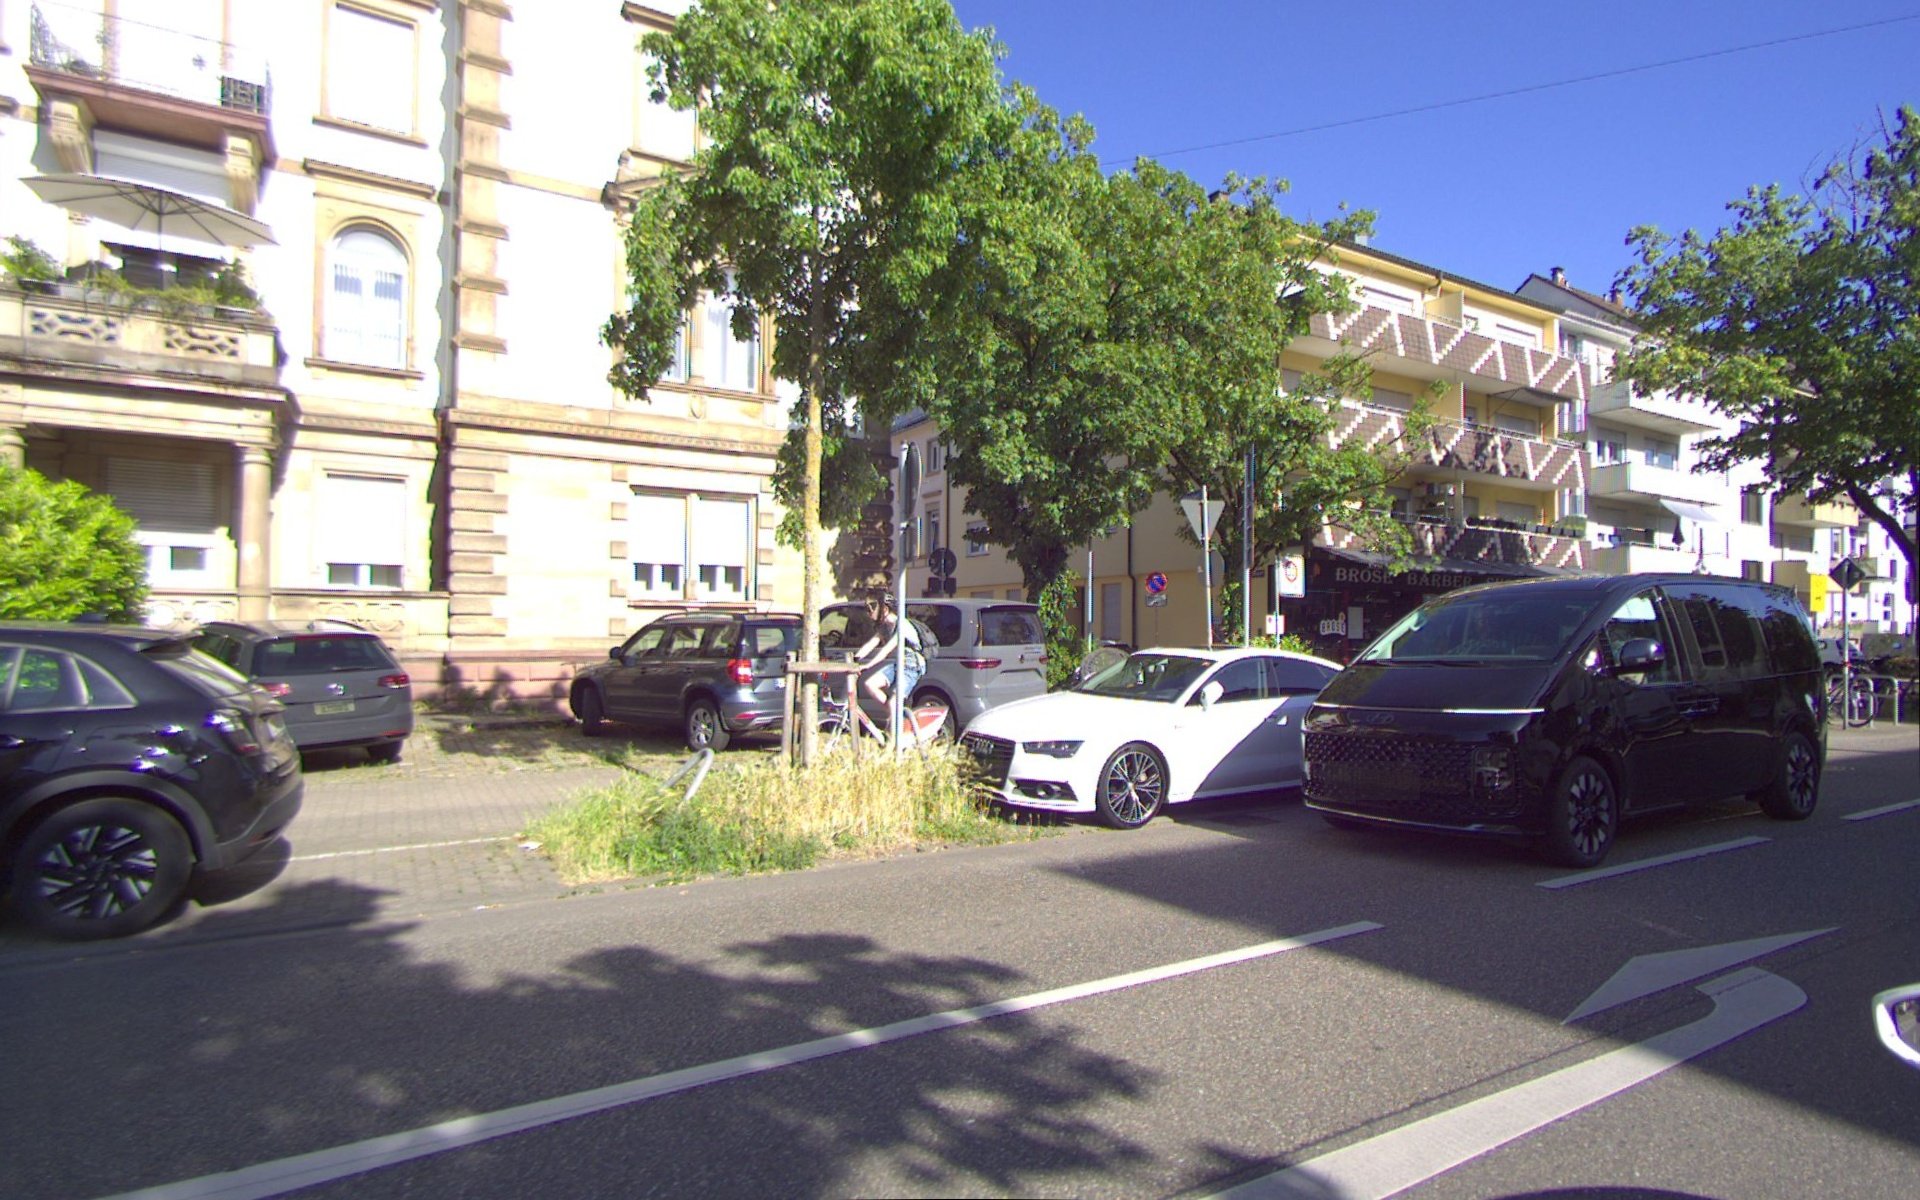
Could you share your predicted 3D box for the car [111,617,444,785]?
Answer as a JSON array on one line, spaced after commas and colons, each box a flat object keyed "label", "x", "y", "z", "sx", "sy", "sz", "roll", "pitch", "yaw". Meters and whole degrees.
[{"label": "car", "x": -7.534, "y": 0.963, "z": 11.002, "sx": 3.853, "sy": 1.508, "sz": 1.628, "roll": 0, "pitch": -1, "yaw": 33}]

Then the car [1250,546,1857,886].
[{"label": "car", "x": 4.908, "y": 0.777, "z": 8.084, "sx": 5.119, "sy": 1.977, "sz": 2.006, "roll": 1, "pitch": -4, "yaw": -31}]

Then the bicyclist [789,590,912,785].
[{"label": "bicyclist", "x": -1.099, "y": 0.846, "z": 10.055, "sx": 1.042, "sy": 1.848, "sz": 0.655, "roll": 1, "pitch": -2, "yaw": -30}]

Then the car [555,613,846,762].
[{"label": "car", "x": -3.485, "y": 1.023, "z": 13.242, "sx": 3.857, "sy": 1.666, "sz": 1.674, "roll": 0, "pitch": -1, "yaw": 37}]

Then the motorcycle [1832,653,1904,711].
[{"label": "motorcycle", "x": 19.163, "y": 1.715, "z": 21.188, "sx": 1.692, "sy": 1.140, "sz": 0.460, "roll": 1, "pitch": 0, "yaw": -23}]

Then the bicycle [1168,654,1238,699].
[{"label": "bicycle", "x": 5.842, "y": 1.823, "z": 24.107, "sx": 1.734, "sy": 0.993, "sz": 0.402, "roll": 0, "pitch": -1, "yaw": -24}]

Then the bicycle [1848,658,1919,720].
[{"label": "bicycle", "x": 18.226, "y": 1.706, "z": 19.256, "sx": 0.453, "sy": 1.106, "sz": 2.027, "roll": 0, "pitch": -1, "yaw": -7}]

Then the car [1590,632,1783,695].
[{"label": "car", "x": 19.545, "y": 1.661, "z": 27.232, "sx": 1.707, "sy": 1.480, "sz": 3.981, "roll": 1, "pitch": -1, "yaw": -21}]

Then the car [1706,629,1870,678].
[{"label": "car", "x": 28.268, "y": 1.785, "z": 34.431, "sx": 1.859, "sy": 1.506, "sz": 3.968, "roll": 1, "pitch": -1, "yaw": -30}]

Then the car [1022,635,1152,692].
[{"label": "car", "x": 3.548, "y": 1.758, "z": 28.689, "sx": 1.627, "sy": 1.461, "sz": 3.969, "roll": 0, "pitch": -2, "yaw": -30}]

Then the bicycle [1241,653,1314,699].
[{"label": "bicycle", "x": 7.148, "y": 1.698, "z": 22.597, "sx": 1.734, "sy": 0.972, "sz": 0.402, "roll": 0, "pitch": -1, "yaw": -24}]

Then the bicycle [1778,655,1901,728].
[{"label": "bicycle", "x": 15.709, "y": 1.599, "z": 18.011, "sx": 0.453, "sy": 1.150, "sz": 1.936, "roll": 0, "pitch": -1, "yaw": -2}]

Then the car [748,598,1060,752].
[{"label": "car", "x": -0.877, "y": 0.938, "z": 14.441, "sx": 4.257, "sy": 1.904, "sz": 1.873, "roll": 0, "pitch": -1, "yaw": 35}]

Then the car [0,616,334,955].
[{"label": "car", "x": -5.567, "y": 0.871, "z": 5.078, "sx": 3.959, "sy": 1.575, "sz": 1.670, "roll": 1, "pitch": -1, "yaw": -29}]

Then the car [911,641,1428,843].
[{"label": "car", "x": 2.060, "y": 1.121, "z": 9.362, "sx": 4.746, "sy": 1.407, "sz": 1.824, "roll": 1, "pitch": -1, "yaw": -31}]

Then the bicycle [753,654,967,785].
[{"label": "bicycle", "x": -0.969, "y": 1.153, "z": 10.135, "sx": 2.167, "sy": 1.208, "sz": 0.446, "roll": 1, "pitch": -2, "yaw": -31}]

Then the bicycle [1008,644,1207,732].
[{"label": "bicycle", "x": 2.431, "y": 1.431, "z": 16.718, "sx": 3.116, "sy": 1.278, "sz": 0.952, "roll": 0, "pitch": -3, "yaw": 26}]
